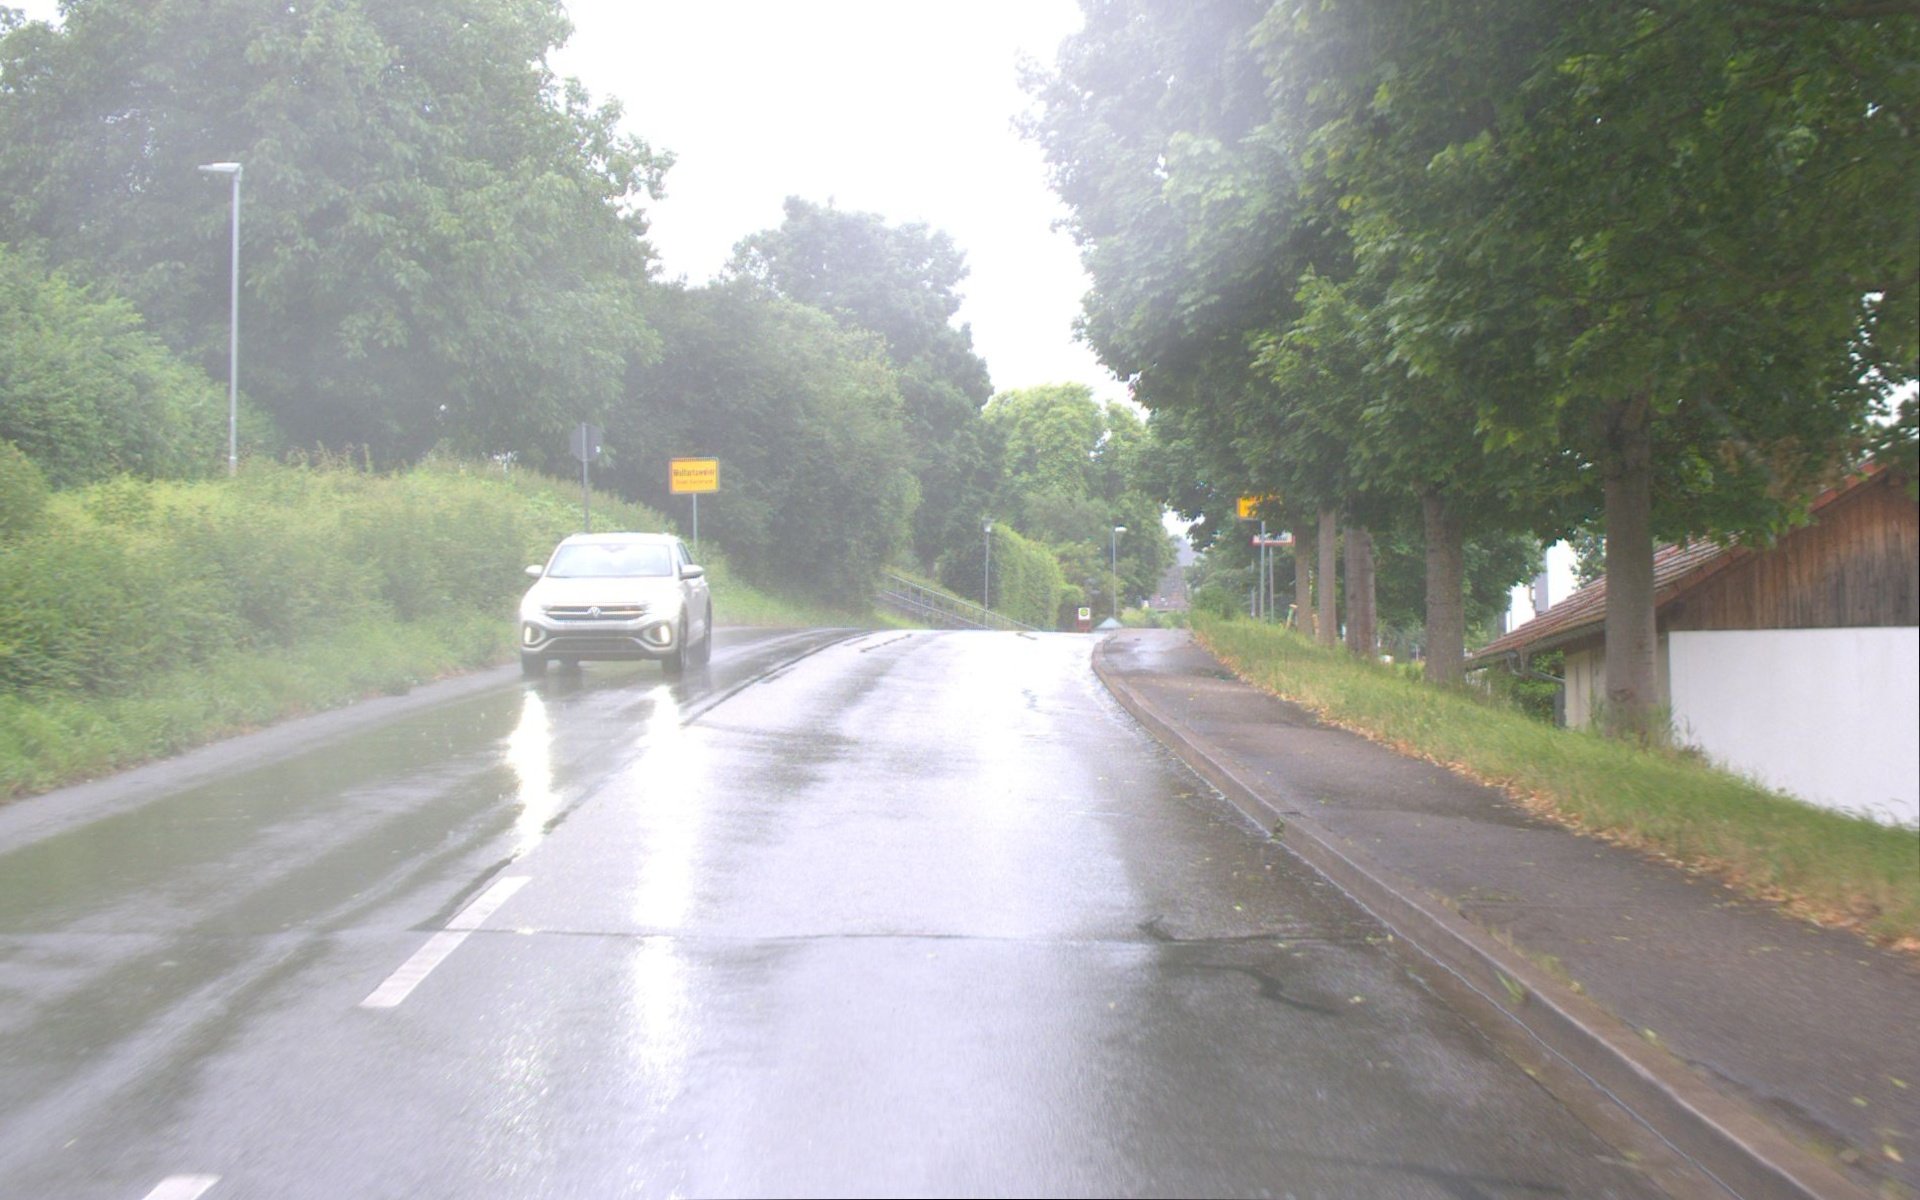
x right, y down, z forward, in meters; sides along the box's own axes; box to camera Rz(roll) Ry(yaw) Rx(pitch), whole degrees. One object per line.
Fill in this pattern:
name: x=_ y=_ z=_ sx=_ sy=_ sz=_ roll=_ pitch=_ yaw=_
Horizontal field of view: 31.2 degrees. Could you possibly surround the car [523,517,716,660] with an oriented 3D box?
car: x=-3.824 y=-0.174 z=39.155 sx=1.781 sy=1.499 sz=4.000 roll=0 pitch=2 yaw=0
